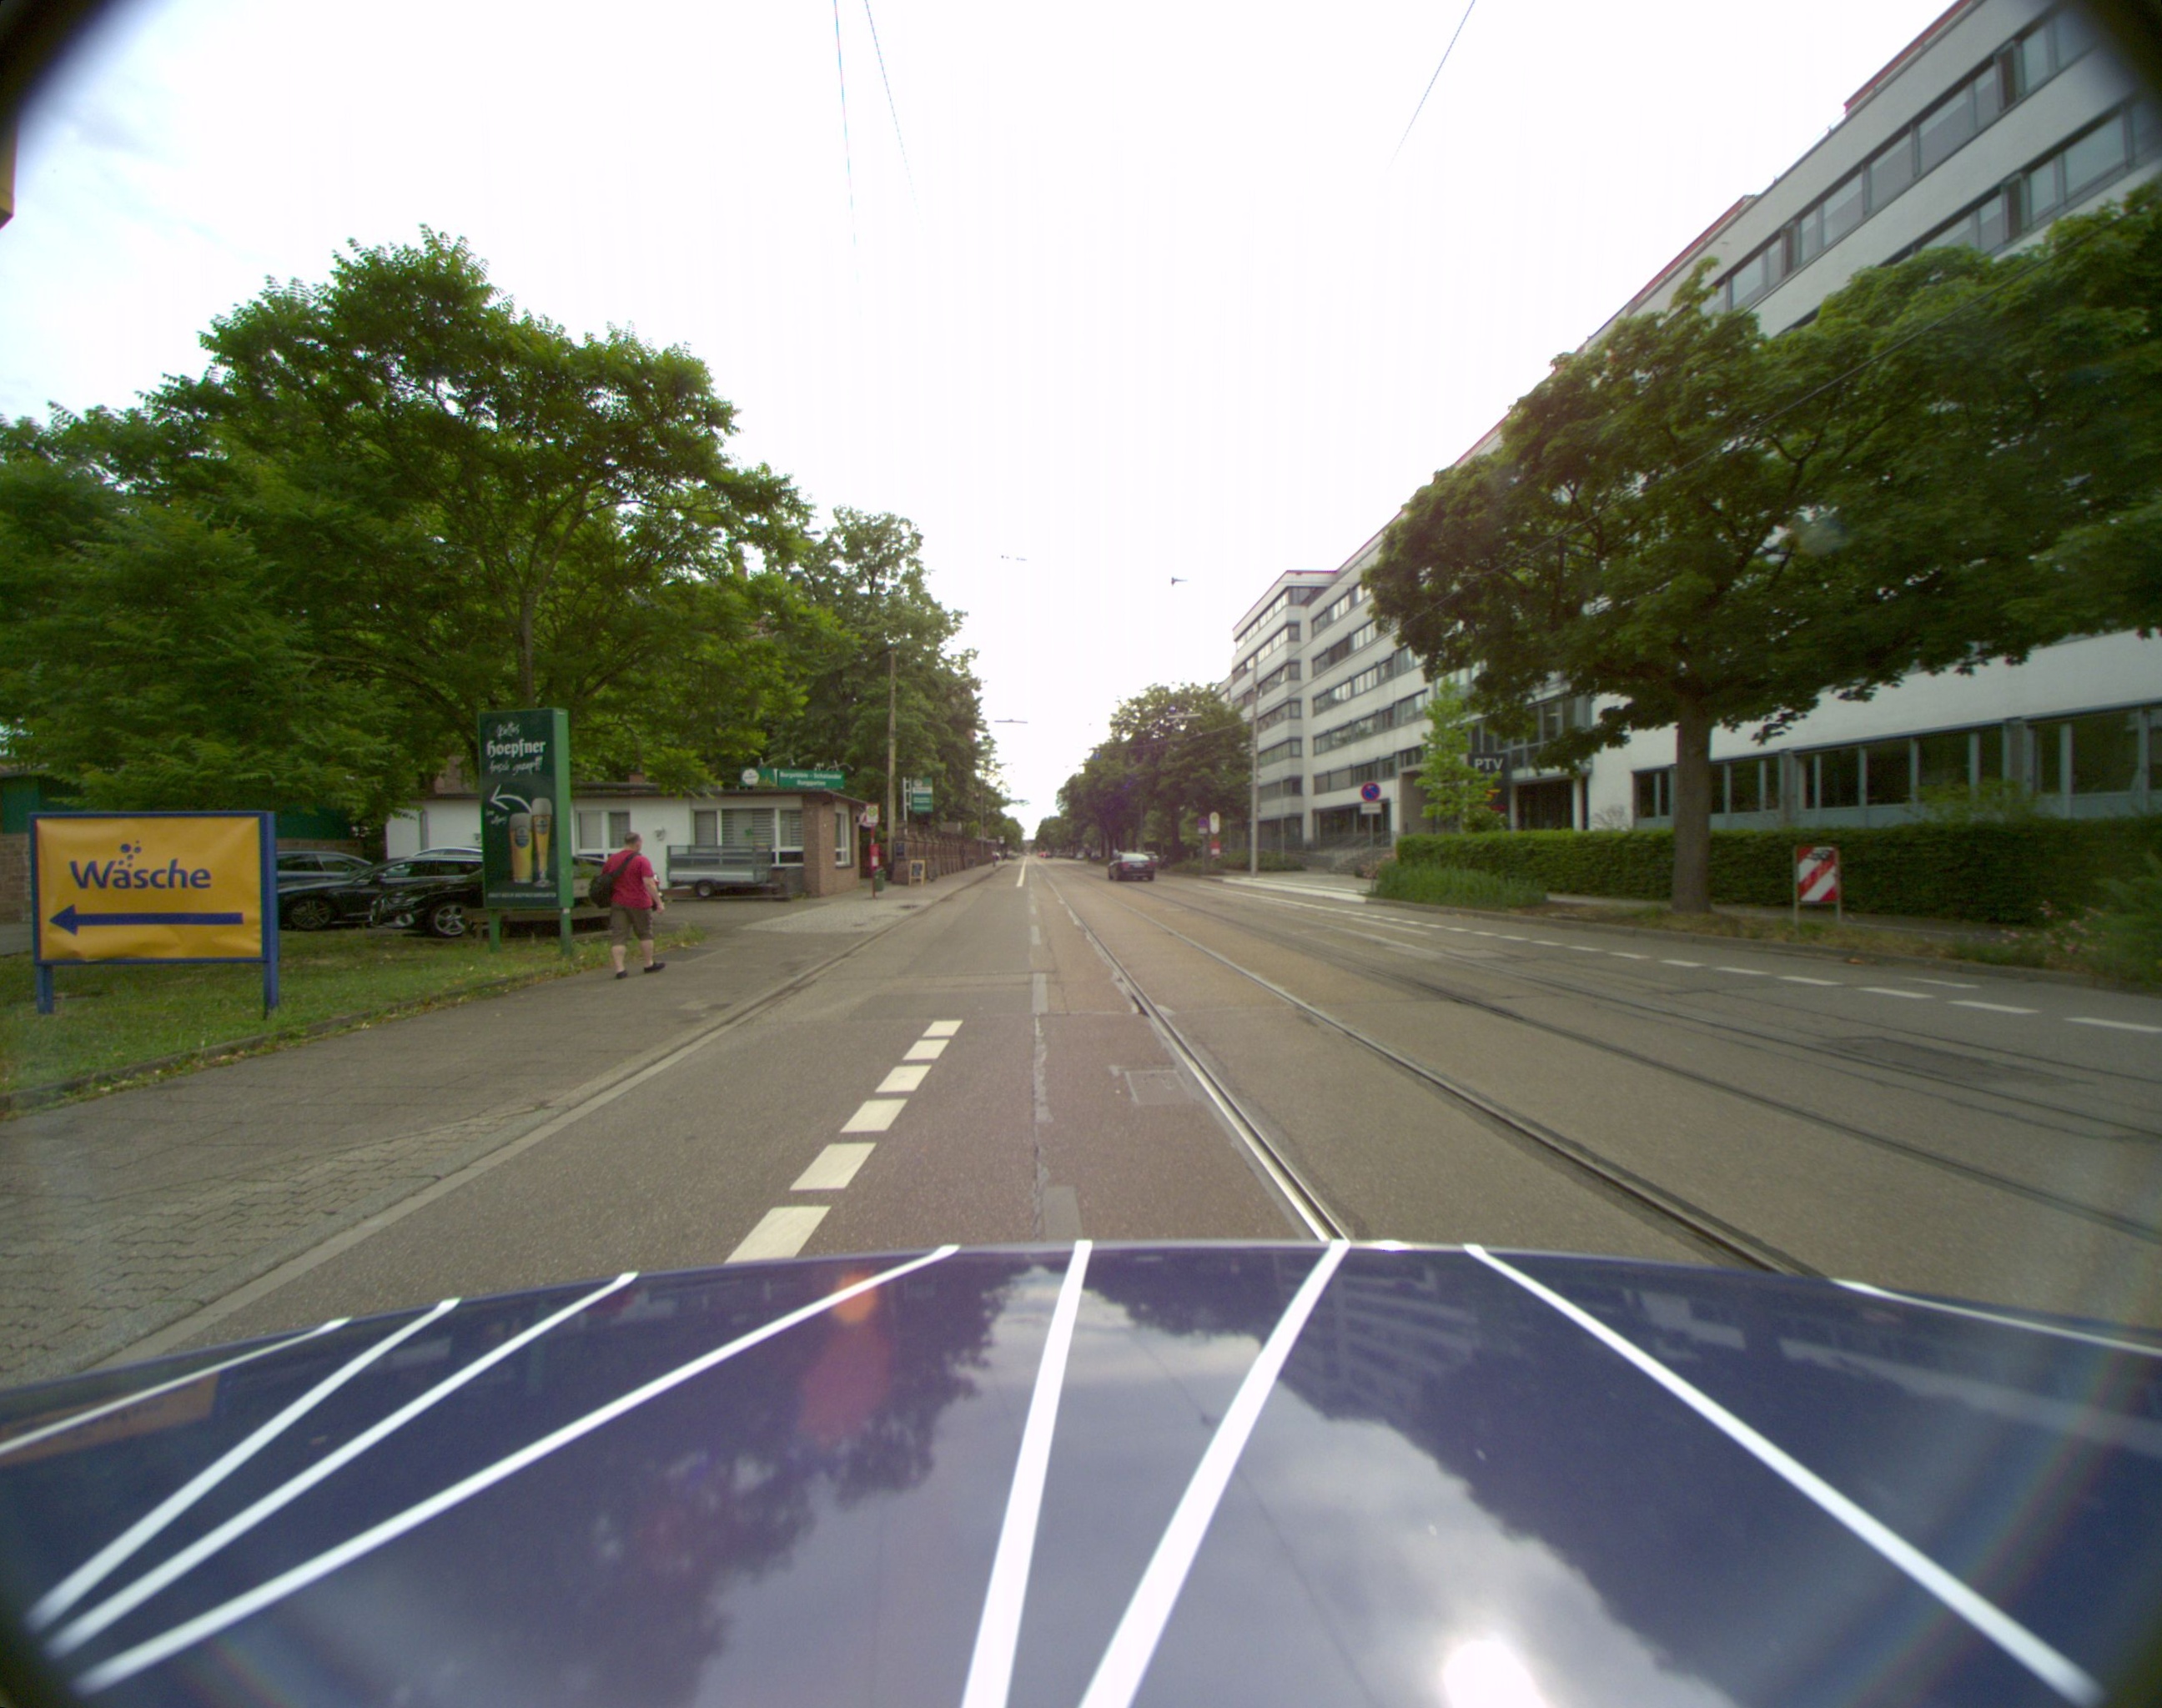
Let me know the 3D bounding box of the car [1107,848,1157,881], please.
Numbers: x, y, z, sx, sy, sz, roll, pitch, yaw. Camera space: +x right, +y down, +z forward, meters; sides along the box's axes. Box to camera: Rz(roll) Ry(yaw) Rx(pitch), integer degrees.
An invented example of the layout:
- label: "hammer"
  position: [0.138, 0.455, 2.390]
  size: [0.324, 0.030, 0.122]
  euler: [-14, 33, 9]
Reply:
- label: "car"
  position: [2.581, 0.493, 39.563]
  size: [1.802, 1.537, 4.477]
  euler: [-2, 1, -6]

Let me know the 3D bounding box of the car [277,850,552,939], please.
- label: "car"
  position: [-13.821, 0.746, 15.982]
  size: [1.822, 1.509, 4.007]
  euler: [-1, 1, 37]

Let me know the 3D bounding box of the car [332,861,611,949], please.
- label: "car"
  position: [-11.213, 0.853, 14.440]
  size: [1.998, 1.281, 3.999]
  euler: [-2, 1, 1]

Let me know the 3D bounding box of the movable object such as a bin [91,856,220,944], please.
- label: "movable object such as a bin"
  position: [-15.454, 0.734, 12.699]
  size: [1.118, 1.351, 1.162]
  euler: [-1, 1, 31]

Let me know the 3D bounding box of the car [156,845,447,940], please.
- label: "car"
  position: [-16.549, 0.728, 16.361]
  size: [1.807, 1.686, 4.033]
  euler: [-1, 1, 33]

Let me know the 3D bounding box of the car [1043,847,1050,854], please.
- label: "car"
  position: [-10.674, -1.177, 237.210]
  size: [1.999, 2.002, 3.998]
  euler: [-2, 1, -2]

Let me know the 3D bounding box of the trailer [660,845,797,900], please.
- label: "trailer"
  position: [-10.505, 0.523, 22.836]
  size: [3.291, 1.523, 1.772]
  euler: [0, 3, -3]

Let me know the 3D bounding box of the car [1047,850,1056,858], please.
- label: "car"
  position: [-7.386, 0.044, 191.883]
  size: [1.998, 2.002, 3.999]
  euler: [-2, 1, 1]

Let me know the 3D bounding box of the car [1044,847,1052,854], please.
- label: "car"
  position: [-9.731, -1.014, 224.448]
  size: [1.999, 2.002, 3.998]
  euler: [-2, 1, -2]

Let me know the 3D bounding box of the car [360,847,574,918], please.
- label: "car"
  position: [-16.374, 0.715, 20.449]
  size: [3.998, 1.657, 1.999]
  euler: [-2, 1, -3]

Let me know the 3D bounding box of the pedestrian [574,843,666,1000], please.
- label: "pedestrian"
  position: [-5.442, 0.759, 9.028]
  size: [0.871, 1.738, 0.849]
  euler: [1, 2, -29]
